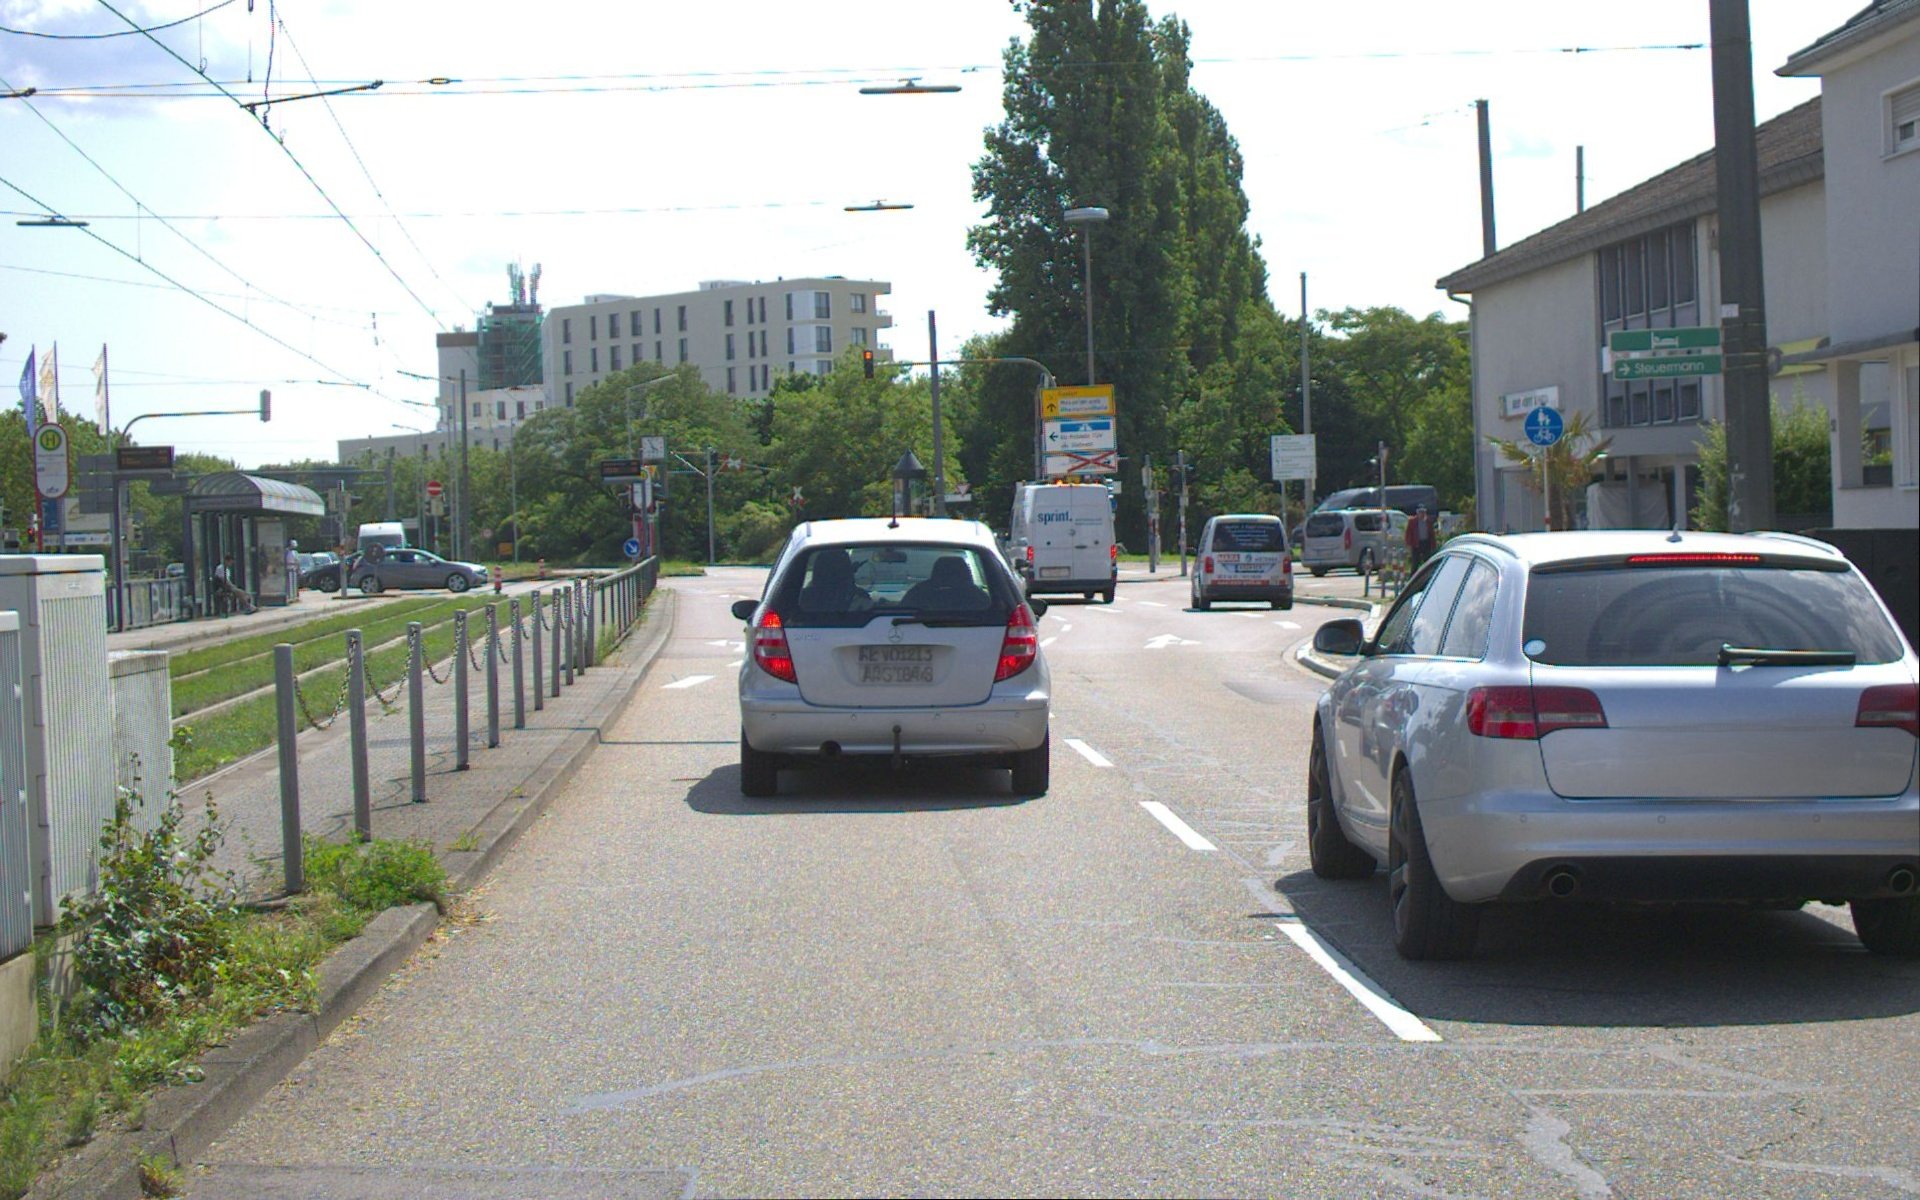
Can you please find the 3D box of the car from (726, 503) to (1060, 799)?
[{"bbox_3d":[-0.413,0.242,20.762,1.787,1.571,4.095,1,1,-1],"label":"car"}]

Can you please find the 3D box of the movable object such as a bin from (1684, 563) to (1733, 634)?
[{"bbox_3d":[9.656,-0.023,44.365,0.444,0.892,0.546,-1,1,-9],"label":"movable object such as a bin"}]

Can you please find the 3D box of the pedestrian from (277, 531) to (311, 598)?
[{"bbox_3d":[-18.115,-0.971,93.516,0.807,1.789,0.709,-1,1,-17],"label":"pedestrian"}]

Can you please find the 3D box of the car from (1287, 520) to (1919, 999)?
[{"bbox_3d":[2.366,0.460,12.956,1.854,1.487,4.536,0,1,0],"label":"car"}]

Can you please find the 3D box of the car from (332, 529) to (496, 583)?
[{"bbox_3d":[-17.168,-1.373,108.300,4.862,1.654,2.000,0,0,-1],"label":"car"}]

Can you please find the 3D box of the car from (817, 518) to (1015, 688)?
[{"bbox_3d":[-0.430,-0.010,32.559,1.739,1.487,4.630,0,1,-1],"label":"car"}]

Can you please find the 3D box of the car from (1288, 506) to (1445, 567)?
[{"bbox_3d":[11.307,-1.757,95.538,4.081,1.631,1.891,0,1,-34],"label":"car"}]

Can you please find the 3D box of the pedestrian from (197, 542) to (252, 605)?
[{"bbox_3d":[-16.056,-0.580,75.086,1.058,1.371,0.860,0,0,-4],"label":"pedestrian"}]

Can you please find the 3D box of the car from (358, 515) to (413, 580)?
[{"bbox_3d":[-23.679,-2.145,141.813,1.993,2.597,4.880,0,0,-7],"label":"car"}]

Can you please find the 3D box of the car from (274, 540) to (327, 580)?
[{"bbox_3d":[-26.226,-1.579,136.804,1.896,1.536,3.730,0,0,-8],"label":"car"}]

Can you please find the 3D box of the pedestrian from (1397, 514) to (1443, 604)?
[{"bbox_3d":[9.362,-0.837,69.998,0.721,1.776,0.703,-3,1,-2],"label":"pedestrian"}]

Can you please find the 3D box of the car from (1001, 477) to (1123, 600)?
[{"bbox_3d":[2.167,-1.337,74.710,2.040,2.549,5.232,-1,1,-5],"label":"car"}]

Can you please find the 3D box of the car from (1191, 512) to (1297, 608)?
[{"bbox_3d":[5.400,-0.752,65.104,1.885,1.725,4.093,-1,0,5],"label":"car"}]
